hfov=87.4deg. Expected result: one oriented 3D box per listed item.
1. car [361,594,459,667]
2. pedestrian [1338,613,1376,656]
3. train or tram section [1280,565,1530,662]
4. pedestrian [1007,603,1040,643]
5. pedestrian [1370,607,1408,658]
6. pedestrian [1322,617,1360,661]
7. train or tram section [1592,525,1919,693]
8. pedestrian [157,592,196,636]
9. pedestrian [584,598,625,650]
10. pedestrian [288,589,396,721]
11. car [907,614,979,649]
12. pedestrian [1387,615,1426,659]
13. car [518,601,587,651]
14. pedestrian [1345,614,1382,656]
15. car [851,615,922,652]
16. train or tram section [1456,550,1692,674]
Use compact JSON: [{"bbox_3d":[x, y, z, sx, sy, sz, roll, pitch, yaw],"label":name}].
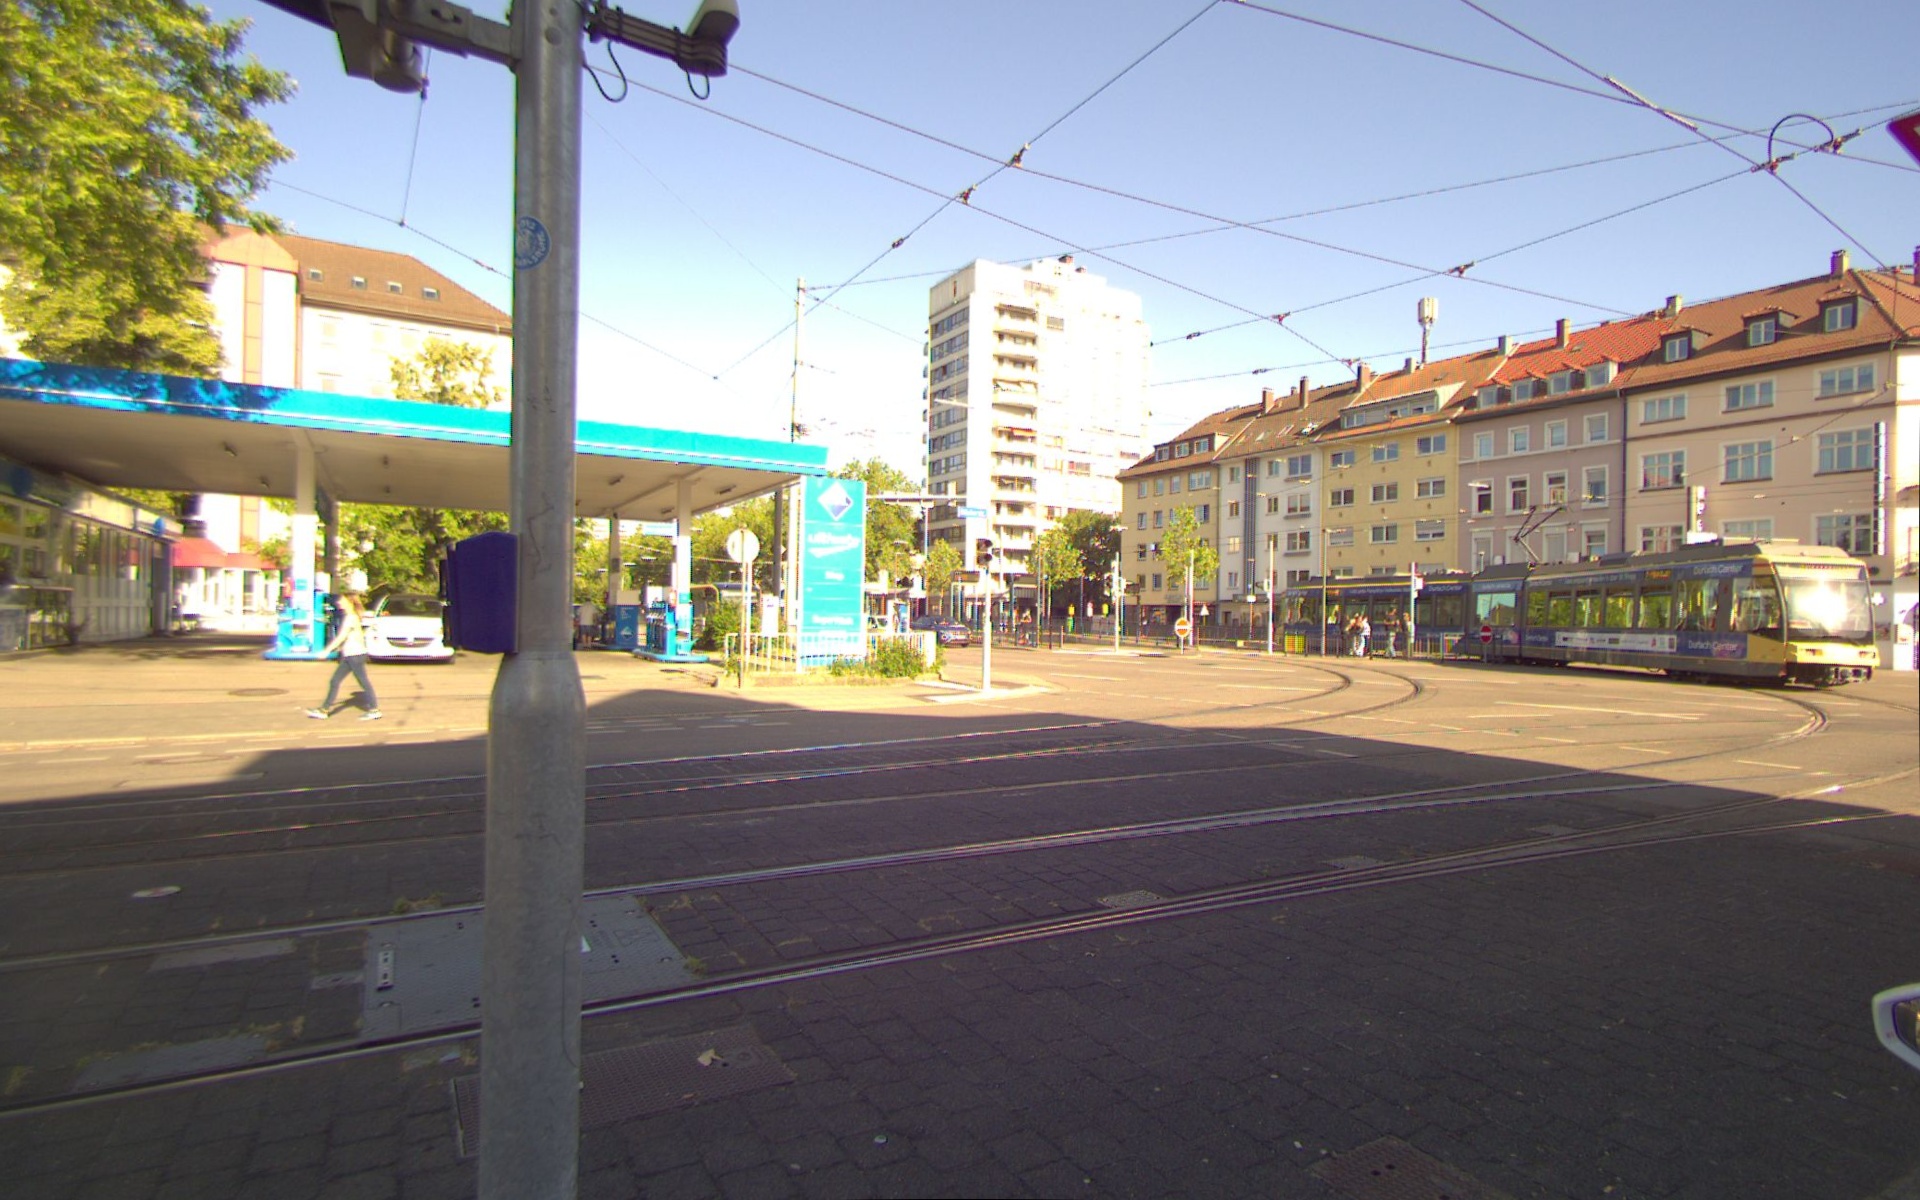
[{"bbox_3d":[-12.347,0.649,22.535,1.760,1.483,3.968,1,-1,-30],"label":"car"},{"bbox_3d":[15.226,1.331,38.504,0.993,1.619,0.938,1,-1,-15],"label":"pedestrian"},{"bbox_3d":[18.376,0.596,42.955,2.734,3.546,11.989,1,-1,-16],"label":"train or tram section"},{"bbox_3d":[3.021,1.111,47.821,1.156,1.870,1.098,2,-1,-28],"label":"pedestrian"},{"bbox_3d":[15.582,1.180,36.460,1.002,1.798,0.930,2,-1,-42],"label":"pedestrian"},{"bbox_3d":[14.447,1.476,38.072,0.991,1.619,0.939,1,-1,-11],"label":"pedestrian"},{"bbox_3d":[19.392,0.243,25.263,2.766,3.546,7.967,1,-1,7],"label":"train or tram section"},{"bbox_3d":[-33.535,0.591,43.015,1.165,1.853,1.051,1,-1,-30],"label":"pedestrian"},{"bbox_3d":[-11.432,0.785,32.316,1.148,1.647,0.807,1,-1,-25],"label":"pedestrian"},{"bbox_3d":[-8.006,0.701,13.069,1.092,1.641,0.711,1,-1,-26],"label":"pedestrian"},{"bbox_3d":[-0.851,1.493,48.320,1.863,1.601,3.971,1,-1,-28],"label":"car"},{"bbox_3d":[16.610,1.370,37.362,0.924,1.619,1.008,1,-1,-8],"label":"pedestrian"},{"bbox_3d":[-13.448,0.839,33.017,1.725,1.431,4.061,5,-2,-26],"label":"car"},{"bbox_3d":[15.748,1.354,39.255,0.925,1.619,1.007,1,-1,-13],"label":"pedestrian"},{"bbox_3d":[-3.475,1.528,46.739,1.863,1.601,3.971,1,-1,-28],"label":"car"},{"bbox_3d":[19.910,0.407,33.388,2.768,3.546,8.463,1,-1,1],"label":"train or tram section"}]
